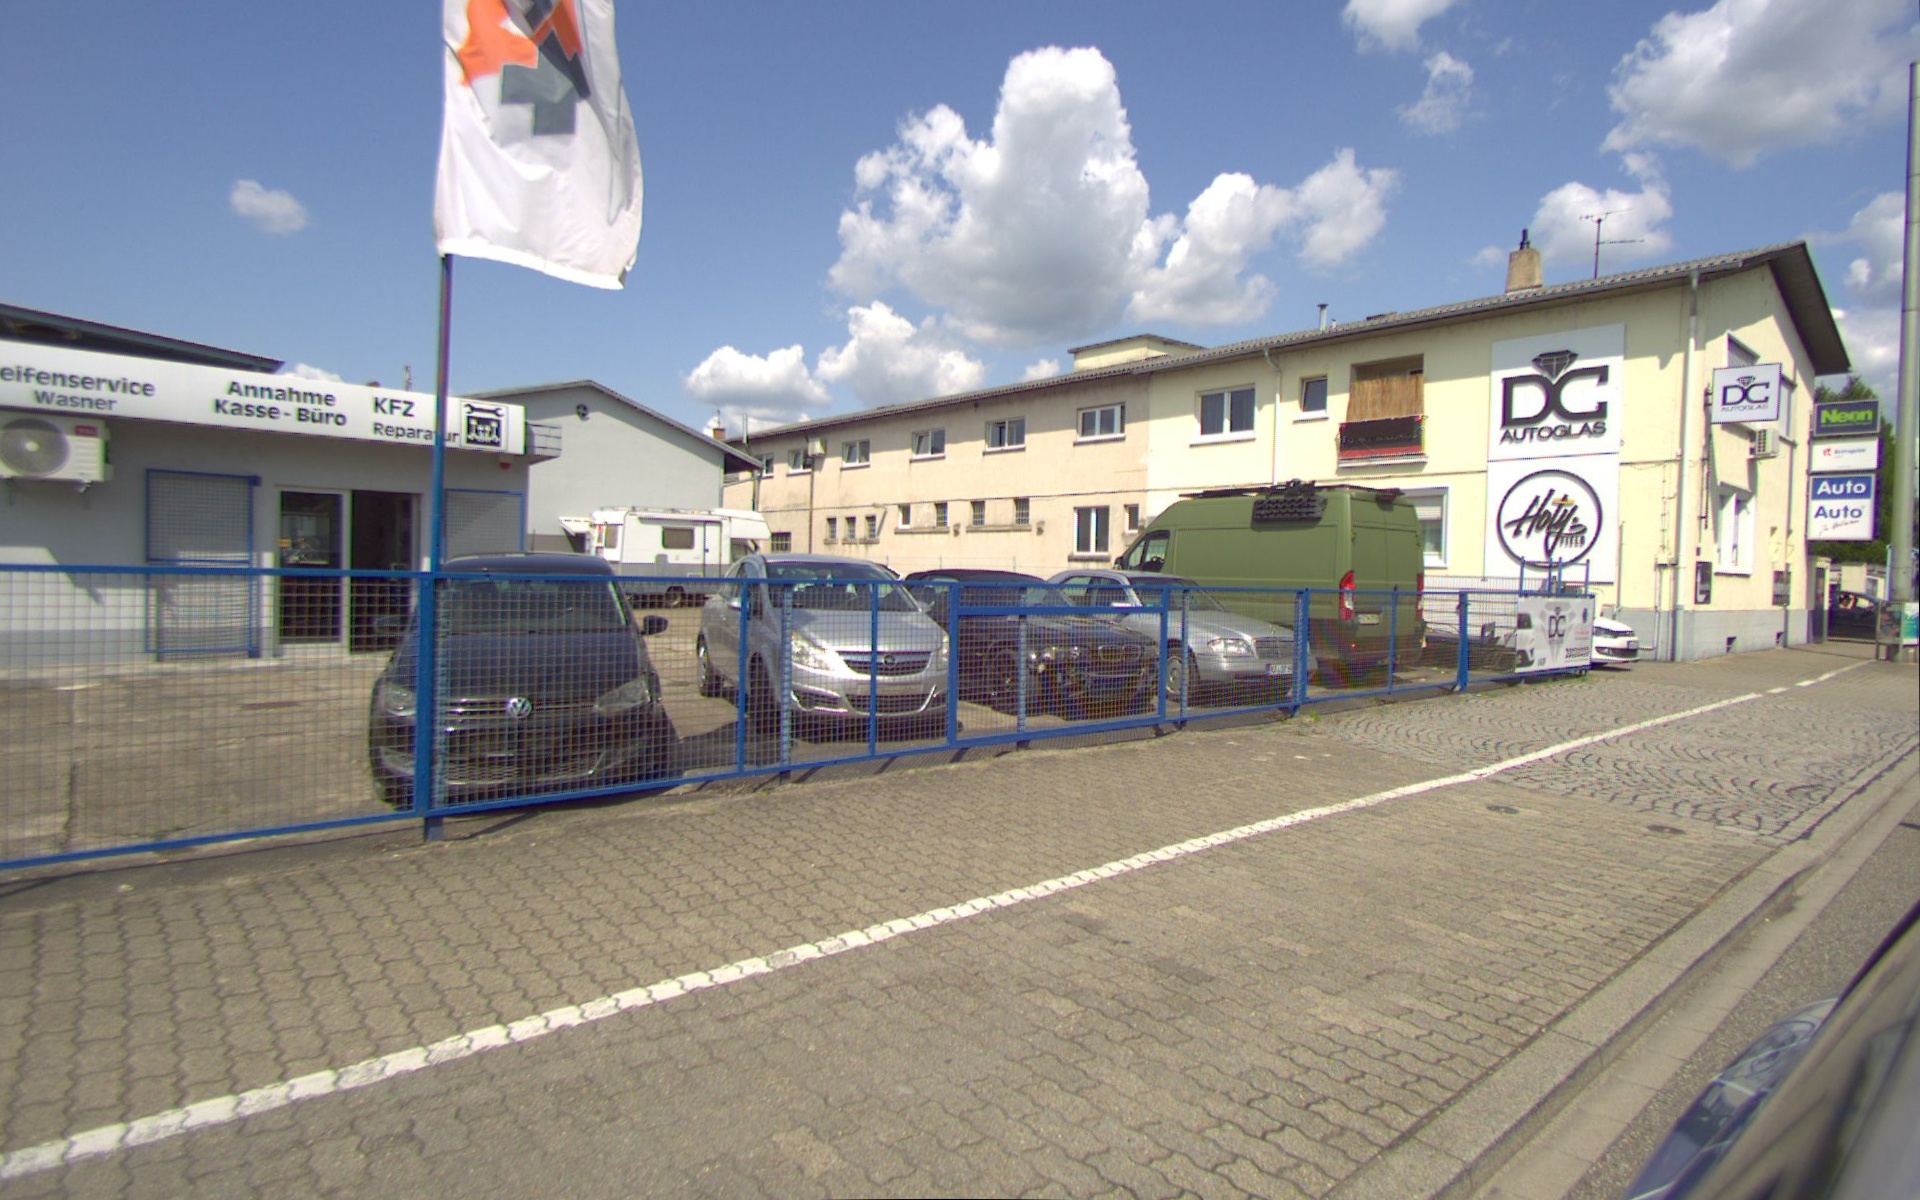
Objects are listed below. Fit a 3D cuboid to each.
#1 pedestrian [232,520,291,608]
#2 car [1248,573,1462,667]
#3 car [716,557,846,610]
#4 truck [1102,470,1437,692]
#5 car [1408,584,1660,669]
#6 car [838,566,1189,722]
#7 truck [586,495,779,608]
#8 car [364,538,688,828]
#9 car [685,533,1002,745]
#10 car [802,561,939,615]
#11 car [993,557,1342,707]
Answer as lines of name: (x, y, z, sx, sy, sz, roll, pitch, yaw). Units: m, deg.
pedestrian: (-10.830, -0.542, 15.684, 0.698, 1.318, 0.625, 0, 0, 44)
car: (6.460, 0.260, 16.754, 1.309, 1.290, 3.034, -1, 4, -39)
car: (-4.924, -0.459, 27.960, 3.268, 1.396, 1.425, -1, 1, -40)
truck: (4.301, -0.256, 14.576, 2.071, 2.694, 4.180, -1, 0, -39)
car: (10.322, 0.424, 18.433, 1.490, 1.375, 3.727, -1, 1, -37)
car: (0.366, 0.343, 11.238, 1.707, 1.391, 4.265, -1, 1, -33)
truck: (-8.089, -1.409, 29.758, 5.000, 3.045, 2.158, -1, 4, -42)
car: (-3.075, 0.305, 7.252, 1.592, 1.480, 3.919, -1, 3, -24)
car: (-1.351, 0.251, 9.599, 1.789, 1.524, 4.271, -1, 1, -24)
car: (-2.226, -0.315, 25.612, 3.218, 1.278, 1.452, -1, 1, -40)
car: (2.346, 0.300, 12.569, 1.792, 1.527, 4.265, -1, 1, -32)
